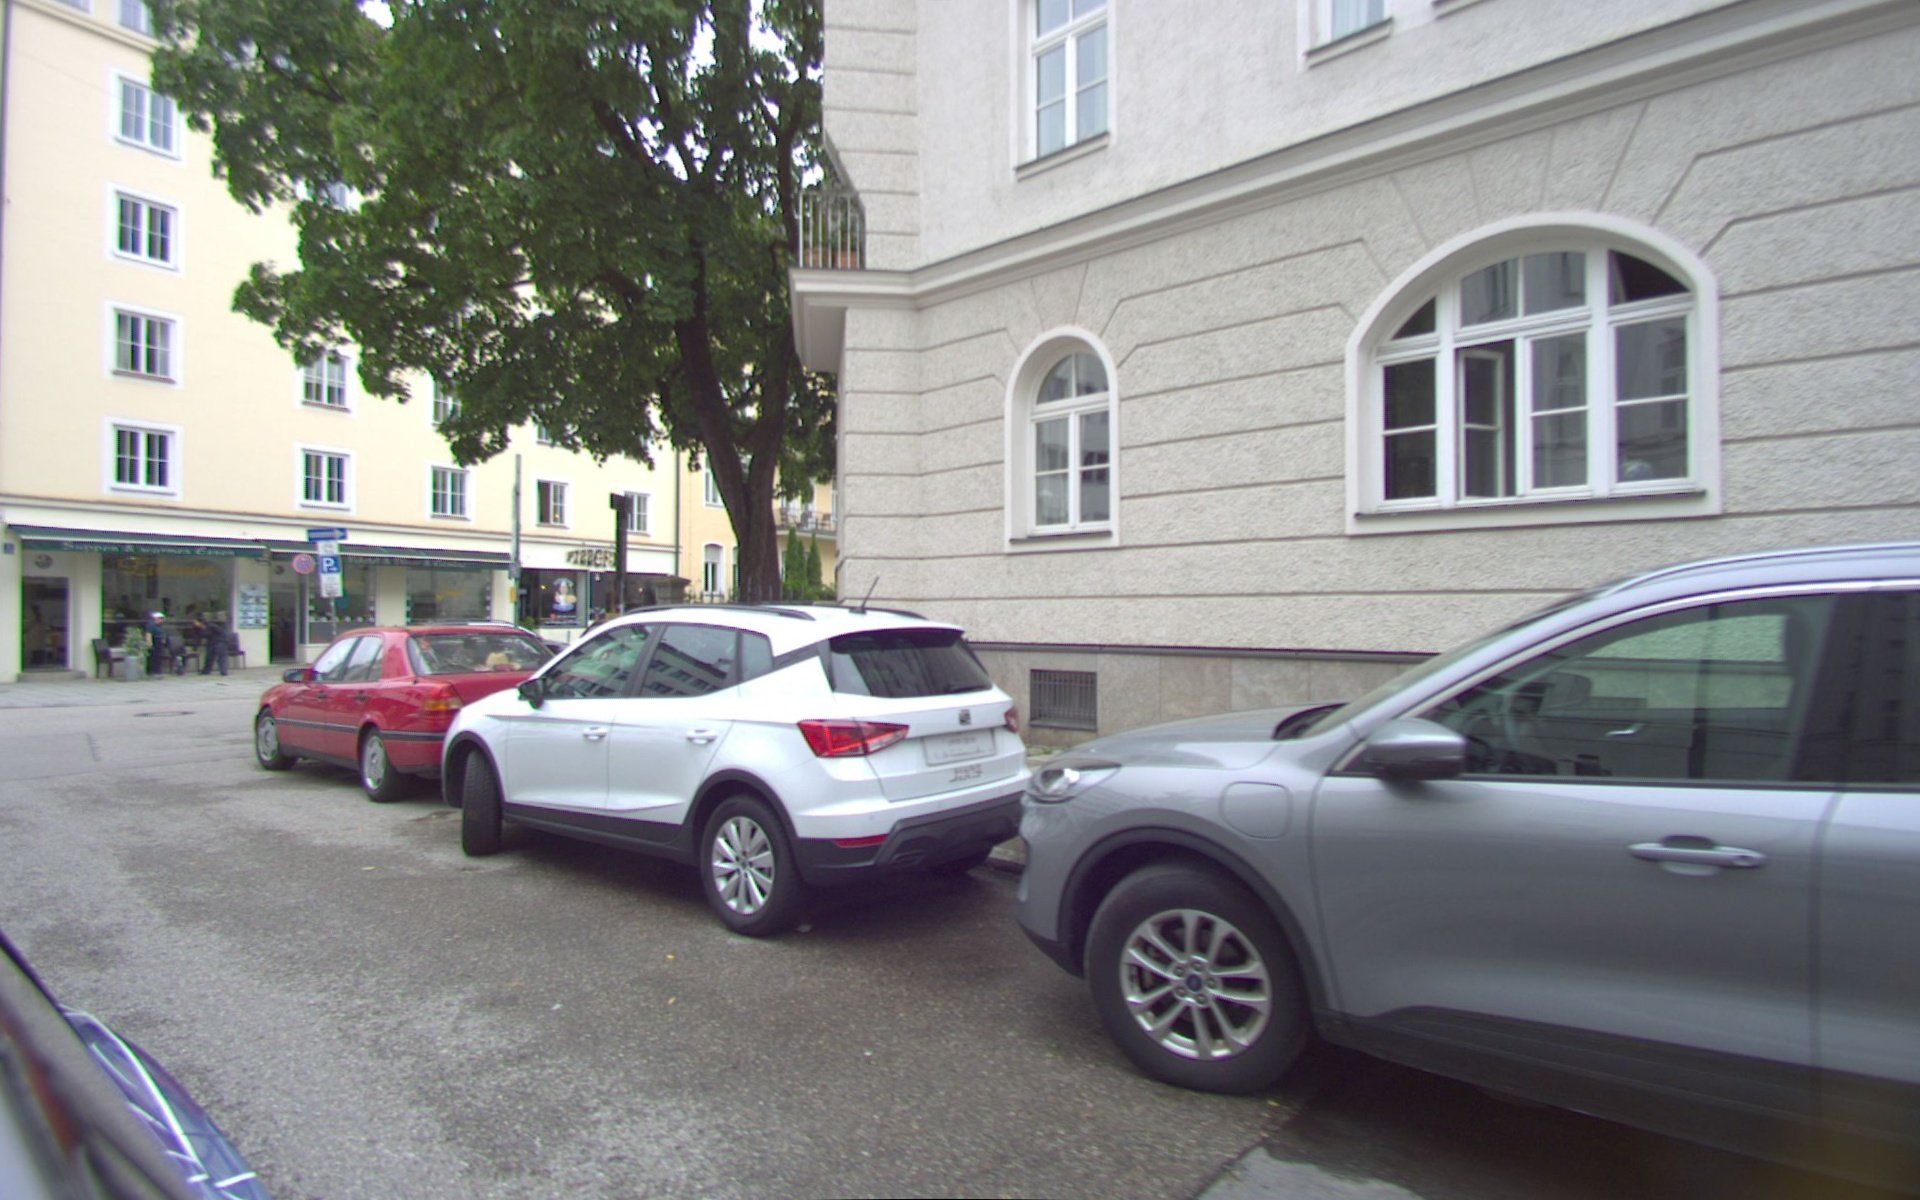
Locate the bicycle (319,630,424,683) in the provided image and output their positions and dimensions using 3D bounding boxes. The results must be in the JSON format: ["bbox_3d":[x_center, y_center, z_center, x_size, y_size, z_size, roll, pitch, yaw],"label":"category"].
[{"bbox_3d":[-14.047,1.332,24.231,2.117,1.211,0.812,1,-2,-29],"label":"bicycle"}]

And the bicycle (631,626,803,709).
[{"bbox_3d":[-3.717,0.992,15.383,2.636,1.172,0.800,-1,-1,26],"label":"bicycle"}]

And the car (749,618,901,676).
[{"bbox_3d":[-3.398,1.152,26.144,1.788,1.371,3.956,-1,-1,32],"label":"car"}]

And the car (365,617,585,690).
[{"bbox_3d":[-11.639,1.248,24.596,2.021,1.494,4.443,-6,-4,30],"label":"car"}]

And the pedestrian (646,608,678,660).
[{"bbox_3d":[-10.526,1.194,35.775,0.847,1.803,0.777,-1,-1,8],"label":"pedestrian"}]

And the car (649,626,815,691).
[{"bbox_3d":[-6.025,1.509,27.250,1.829,1.534,4.447,-1,-1,31],"label":"car"}]

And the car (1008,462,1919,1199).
[{"bbox_3d":[2.357,0.581,2.800,4.209,1.690,1.818,-2,-1,40],"label":"car"}]

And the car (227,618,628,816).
[{"bbox_3d":[-5.044,0.897,9.301,4.475,1.403,1.664,-2,-2,40],"label":"car"}]

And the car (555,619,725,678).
[{"bbox_3d":[-8.992,1.337,28.834,1.992,1.438,4.386,-6,-4,30],"label":"car"}]

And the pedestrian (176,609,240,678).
[{"bbox_3d":[-18.964,1.077,25.519,0.870,1.689,1.110,-2,-1,39],"label":"pedestrian"}]

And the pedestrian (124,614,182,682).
[{"bbox_3d":[-19.992,1.175,25.097,0.907,1.623,0.778,0,-1,-19],"label":"pedestrian"}]

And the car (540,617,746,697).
[{"bbox_3d":[-6.576,1.125,21.385,1.788,1.469,3.956,0,0,32],"label":"car"}]

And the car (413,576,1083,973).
[{"bbox_3d":[-1.412,0.715,5.910,3.945,1.580,1.678,-1,-1,37],"label":"car"}]
